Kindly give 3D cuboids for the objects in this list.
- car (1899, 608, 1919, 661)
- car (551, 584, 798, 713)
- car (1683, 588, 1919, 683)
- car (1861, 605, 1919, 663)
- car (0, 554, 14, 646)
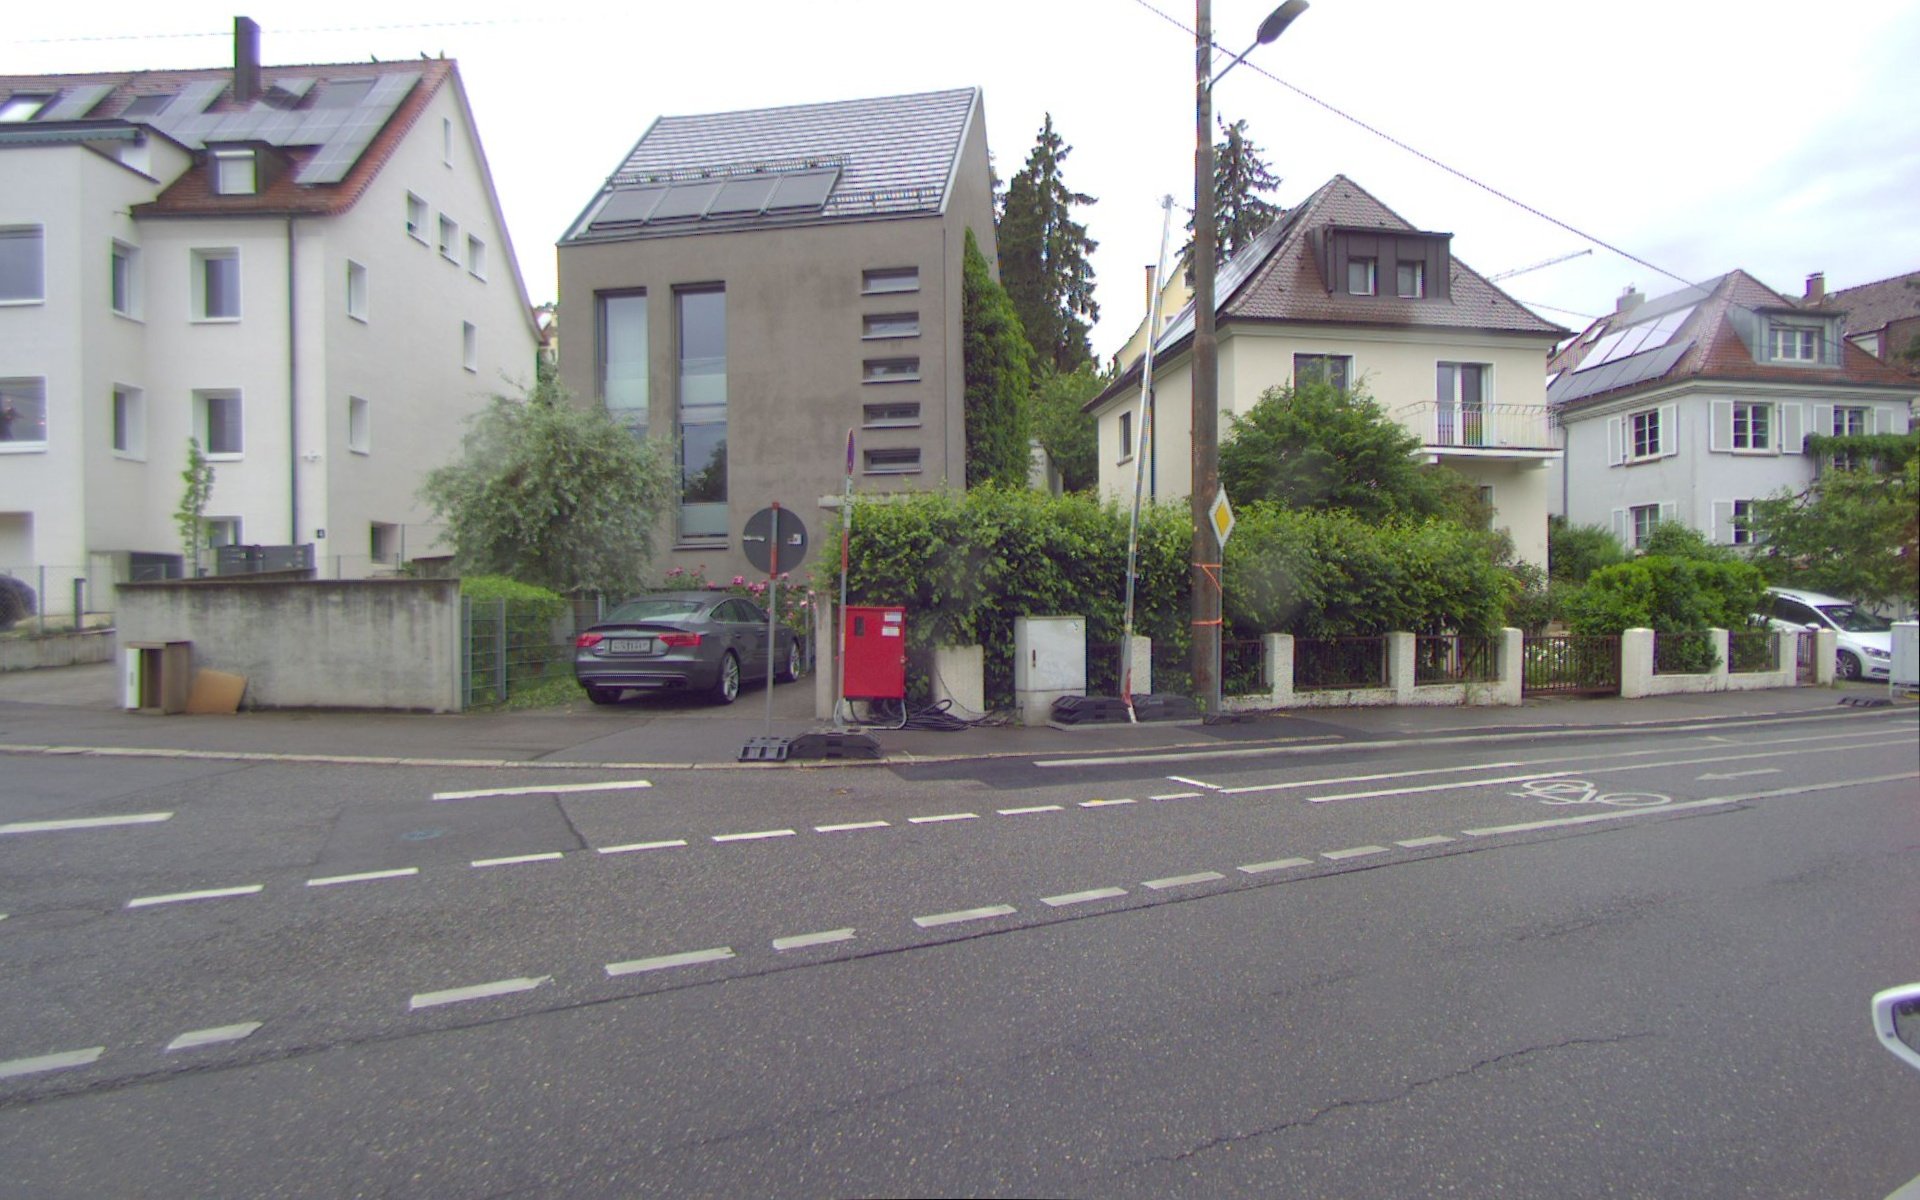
[{"bbox_3d":[28.441,1.051,27.217,1.733,1.505,3.983,3,0,-19],"label":"car"},{"bbox_3d":[-3.618,0.558,13.562,1.802,1.463,4.002,1,0,7],"label":"car"},{"bbox_3d":[19.611,0.772,23.604,1.801,2.040,3.984,1,0,-18],"label":"car"},{"bbox_3d":[26.525,0.981,26.297,1.733,1.505,3.983,3,0,-19],"label":"car"},{"bbox_3d":[-16.900,-0.017,15.056,1.700,1.528,3.820,1,0,3],"label":"car"}]
